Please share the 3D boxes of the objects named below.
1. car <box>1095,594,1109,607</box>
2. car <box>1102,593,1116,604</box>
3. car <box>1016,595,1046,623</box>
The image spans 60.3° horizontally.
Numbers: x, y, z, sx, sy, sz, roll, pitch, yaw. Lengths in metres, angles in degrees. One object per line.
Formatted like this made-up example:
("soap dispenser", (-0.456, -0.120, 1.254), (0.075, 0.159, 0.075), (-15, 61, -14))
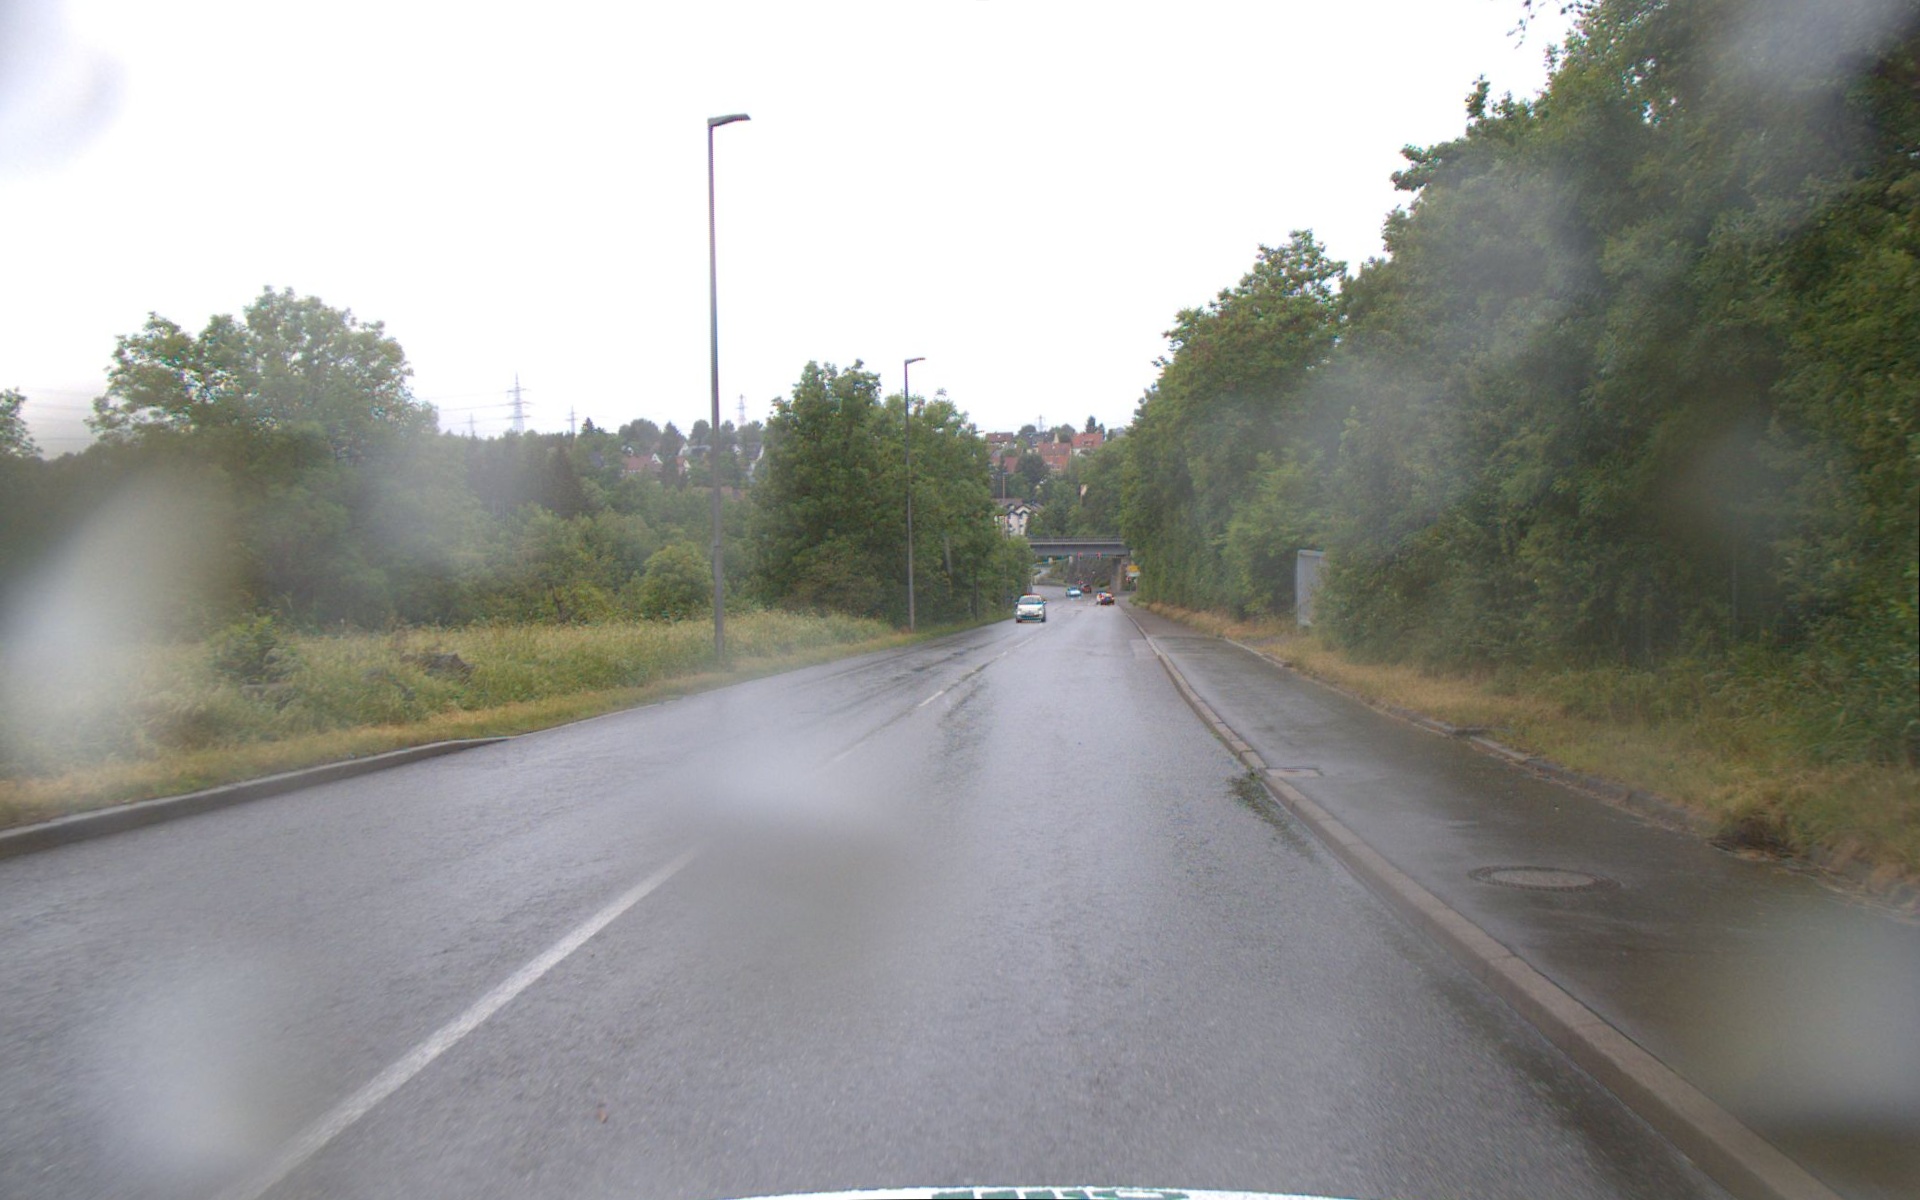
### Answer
("car", (18.720, 0.022, 217.459), (1.731, 1.590, 4.003), (-2, 0, 6))
("car", (18.970, -0.199, 210.743), (1.731, 1.404, 4.003), (-2, 0, 6))
("car", (4.026, 0.510, 93.951), (1.605, 1.514, 3.455), (-2, 0, 2))
